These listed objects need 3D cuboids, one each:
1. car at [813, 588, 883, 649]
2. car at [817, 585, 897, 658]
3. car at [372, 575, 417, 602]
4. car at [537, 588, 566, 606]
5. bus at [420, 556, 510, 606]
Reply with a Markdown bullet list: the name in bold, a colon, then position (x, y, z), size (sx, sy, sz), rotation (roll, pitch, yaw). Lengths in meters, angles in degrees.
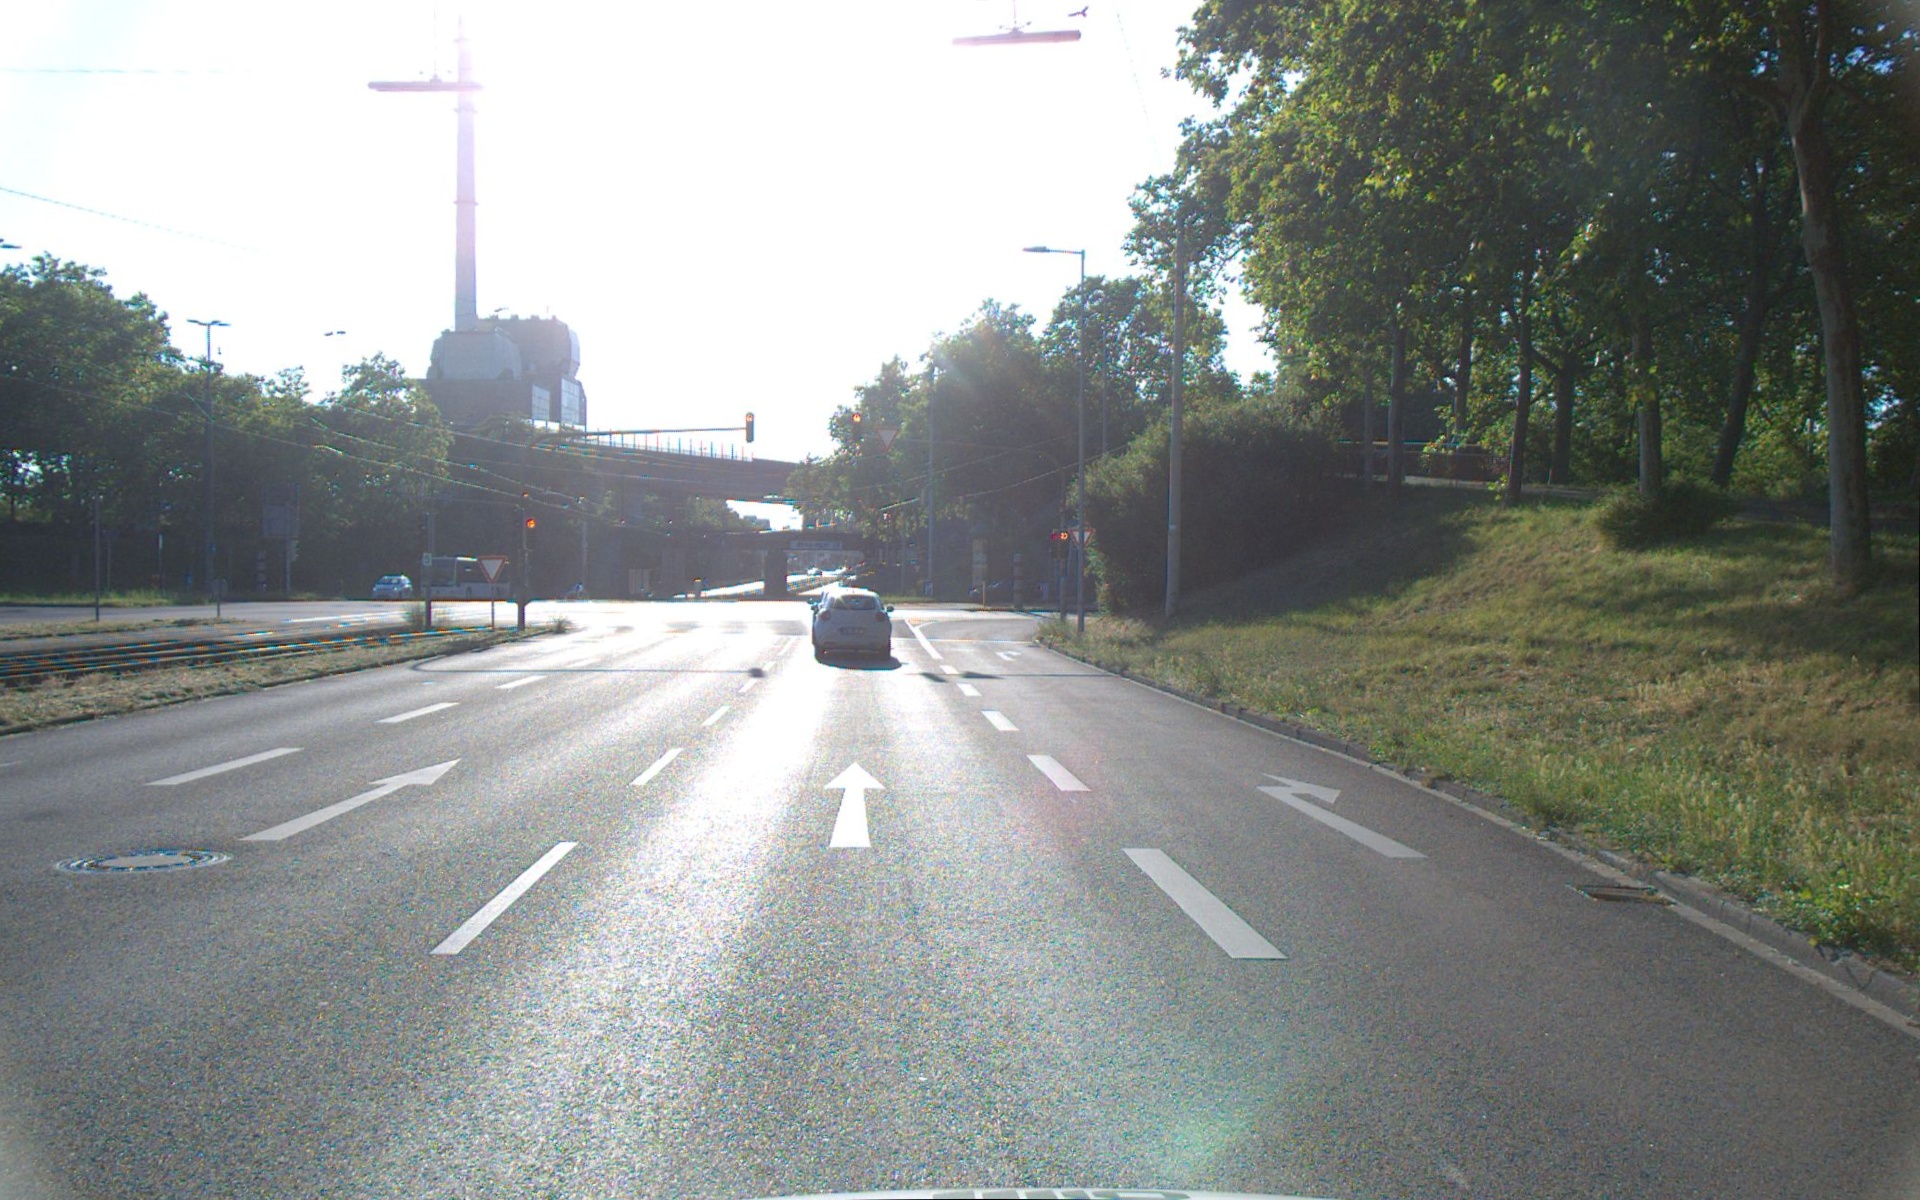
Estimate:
- **car**: position (-2.991, 0.440, 43.586), size (1.681, 1.491, 4.202), rotation (0, 1, -6)
- **car**: position (-2.351, 0.447, 37.283), size (1.702, 1.531, 3.997), rotation (0, 1, -4)
- **car**: position (-33.923, -0.688, 99.238), size (1.575, 1.538, 4.004), rotation (1, 1, -5)
- **car**: position (-34.782, -0.297, 140.843), size (1.574, 1.443, 4.007), rotation (1, 1, -1)
- **bus**: position (-34.301, -1.201, 115.128), size (2.492, 3.185, 12.915), rotation (0, -1, -1)
